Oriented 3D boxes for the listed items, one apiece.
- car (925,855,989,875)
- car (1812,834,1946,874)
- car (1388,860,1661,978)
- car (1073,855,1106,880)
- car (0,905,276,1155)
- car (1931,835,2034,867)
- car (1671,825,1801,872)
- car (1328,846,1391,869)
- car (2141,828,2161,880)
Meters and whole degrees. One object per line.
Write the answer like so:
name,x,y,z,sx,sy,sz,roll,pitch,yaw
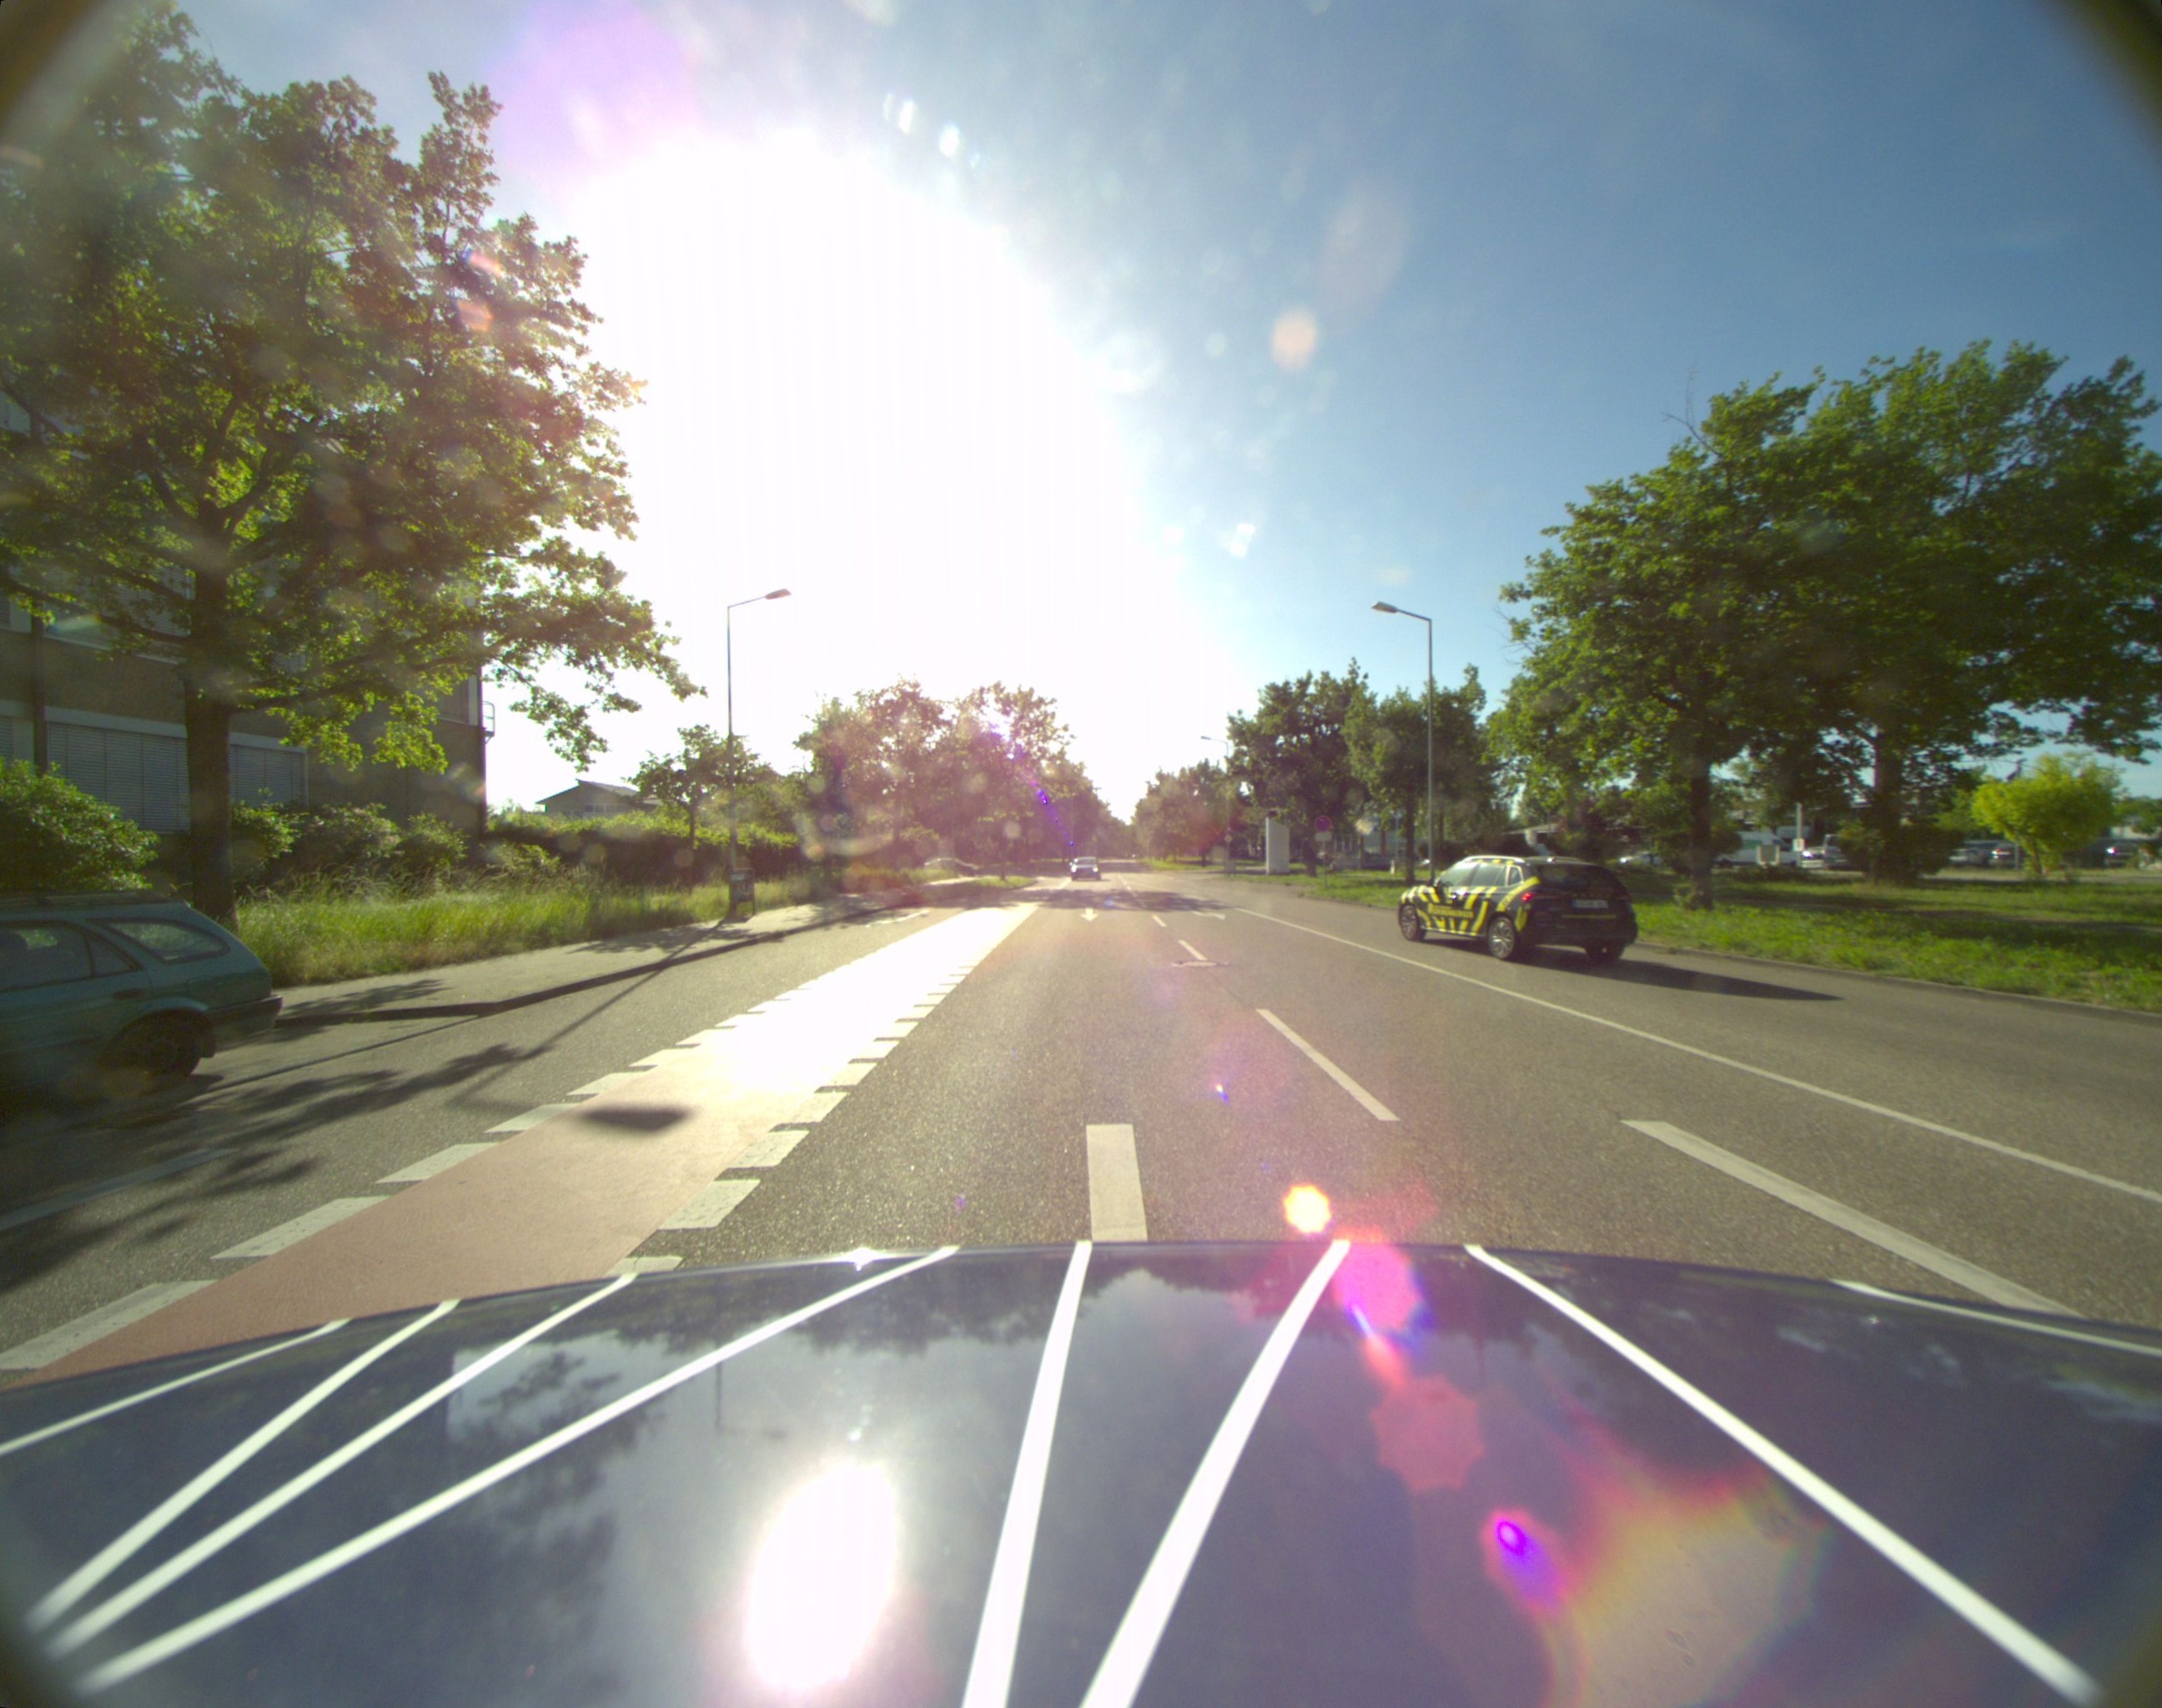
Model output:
car,-9.651,0.853,59.147,4.481,1.510,1.898,0,1,12
car,40.053,0.000,38.214,4.642,1.771,1.990,-2,1,0
car,6.819,0.900,12.284,1.768,1.517,4.078,0,0,-5
car,0.575,0.808,47.994,1.652,1.460,3.943,-2,0,7
car,-7.533,1.131,4.213,1.706,1.460,4.141,-1,-1,0
car,52.081,-0.201,43.953,3.860,1.661,1.762,-2,1,0
car,39.892,-0.334,46.391,6.023,2.540,2.409,-2,1,-4
car,23.921,0.298,65.364,4.637,1.822,2.000,-2,1,0
car,33.880,-0.081,22.033,3.817,1.562,1.736,-2,-1,0
